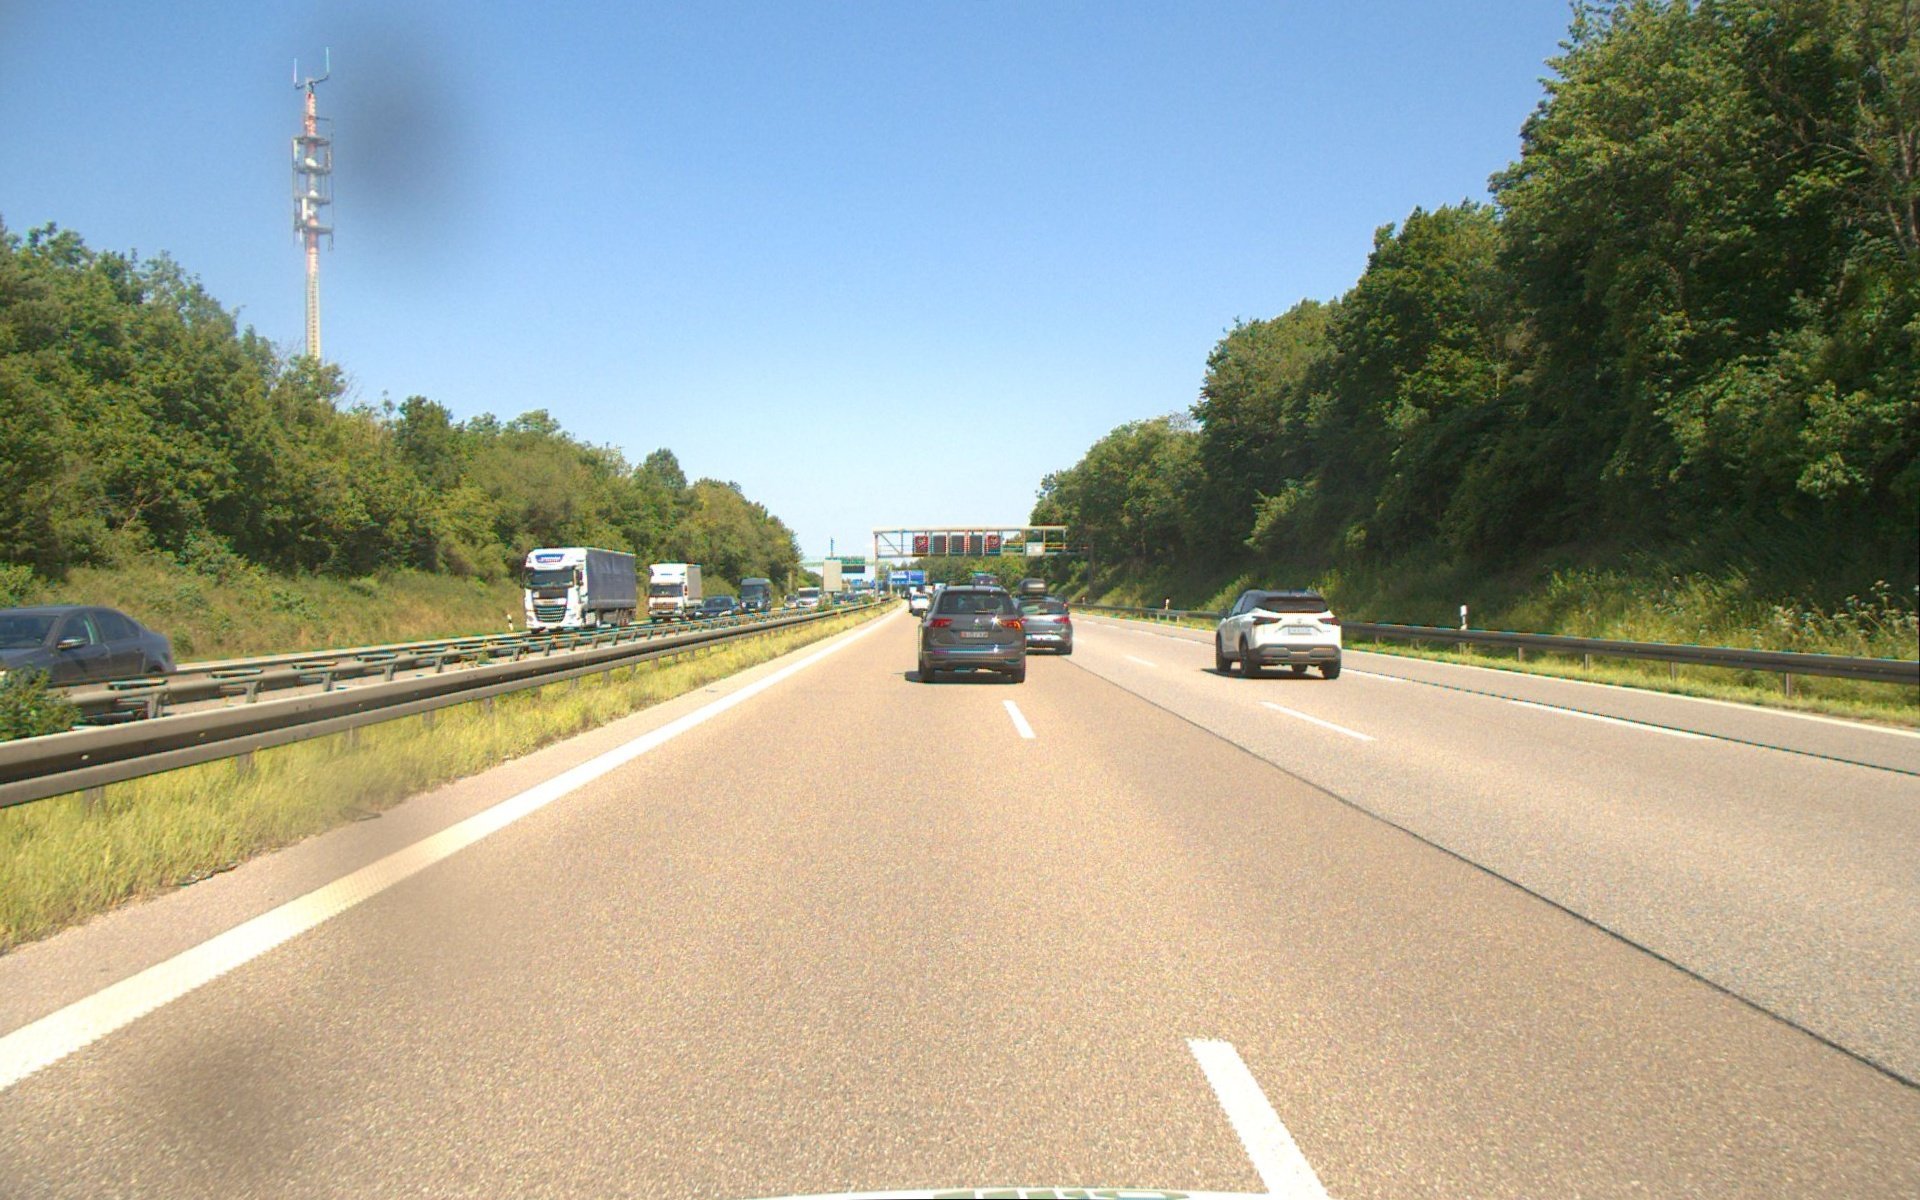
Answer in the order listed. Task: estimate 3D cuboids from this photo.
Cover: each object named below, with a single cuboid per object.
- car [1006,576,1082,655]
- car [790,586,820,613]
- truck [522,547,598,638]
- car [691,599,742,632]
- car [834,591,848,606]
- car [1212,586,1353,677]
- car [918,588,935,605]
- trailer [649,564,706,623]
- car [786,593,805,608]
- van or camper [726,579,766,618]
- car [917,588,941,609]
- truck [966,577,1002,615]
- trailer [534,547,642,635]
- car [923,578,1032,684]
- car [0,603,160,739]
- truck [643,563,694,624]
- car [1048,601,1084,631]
[{"bbox_3d":[2.143,0.364,43.202,1.631,1.909,4.826,-1,0,-1],"label":"car"},{"bbox_3d":[-12.348,-0.019,132.072,1.889,2.015,5.233,-3,0,-1],"label":"car"},{"bbox_3d":[-19.115,-0.362,79.178,2.562,4.129,3.999,-3,0,-1],"label":"truck"},{"bbox_3d":[-11.473,0.709,78.312,1.770,1.430,4.818,-1,0,-1],"label":"car"},{"bbox_3d":[-12.976,-0.159,180.683,1.404,1.555,3.456,-1,0,-1],"label":"car"},{"bbox_3d":[6.119,0.556,31.855,1.806,1.595,4.034,1,0,-2],"label":"car"},{"bbox_3d":[-4.156,-0.437,203.982,1.953,2.049,3.999,2,0,-2],"label":"car"},{"bbox_3d":[-19.671,-0.447,115.556,2.657,3.876,7.690,-2,0,-1],"label":"trailer"},{"bbox_3d":[-16.670,0.050,167.559,1.641,1.522,3.543,-1,0,-2],"label":"car"},{"bbox_3d":[-16.758,-0.120,129.778,2.153,2.860,6.796,-3,0,-1],"label":"van or camper"},{"bbox_3d":[-2.415,-0.124,129.579,1.729,1.595,4.258,1,0,0],"label":"car"},{"bbox_3d":[2.917,-0.491,207.429,3.704,4.499,14.044,0,0,-2],"label":"truck"},{"bbox_3d":[-19.283,-0.445,86.758,2.562,4.129,14.165,-3,0,-1],"label":"trailer"},{"bbox_3d":[0.302,0.498,29.310,1.762,1.698,4.258,1,0,0],"label":"car"},{"bbox_3d":[-10.696,0.755,18.446,1.455,1.380,4.416,-1,0,-1],"label":"car"},{"bbox_3d":[-19.558,-0.435,110.971,2.648,3.876,3.999,-2,0,-1],"label":"truck"},{"bbox_3d":[5.912,0.877,92.693,1.729,1.595,4.258,1,0,0],"label":"car"}]
